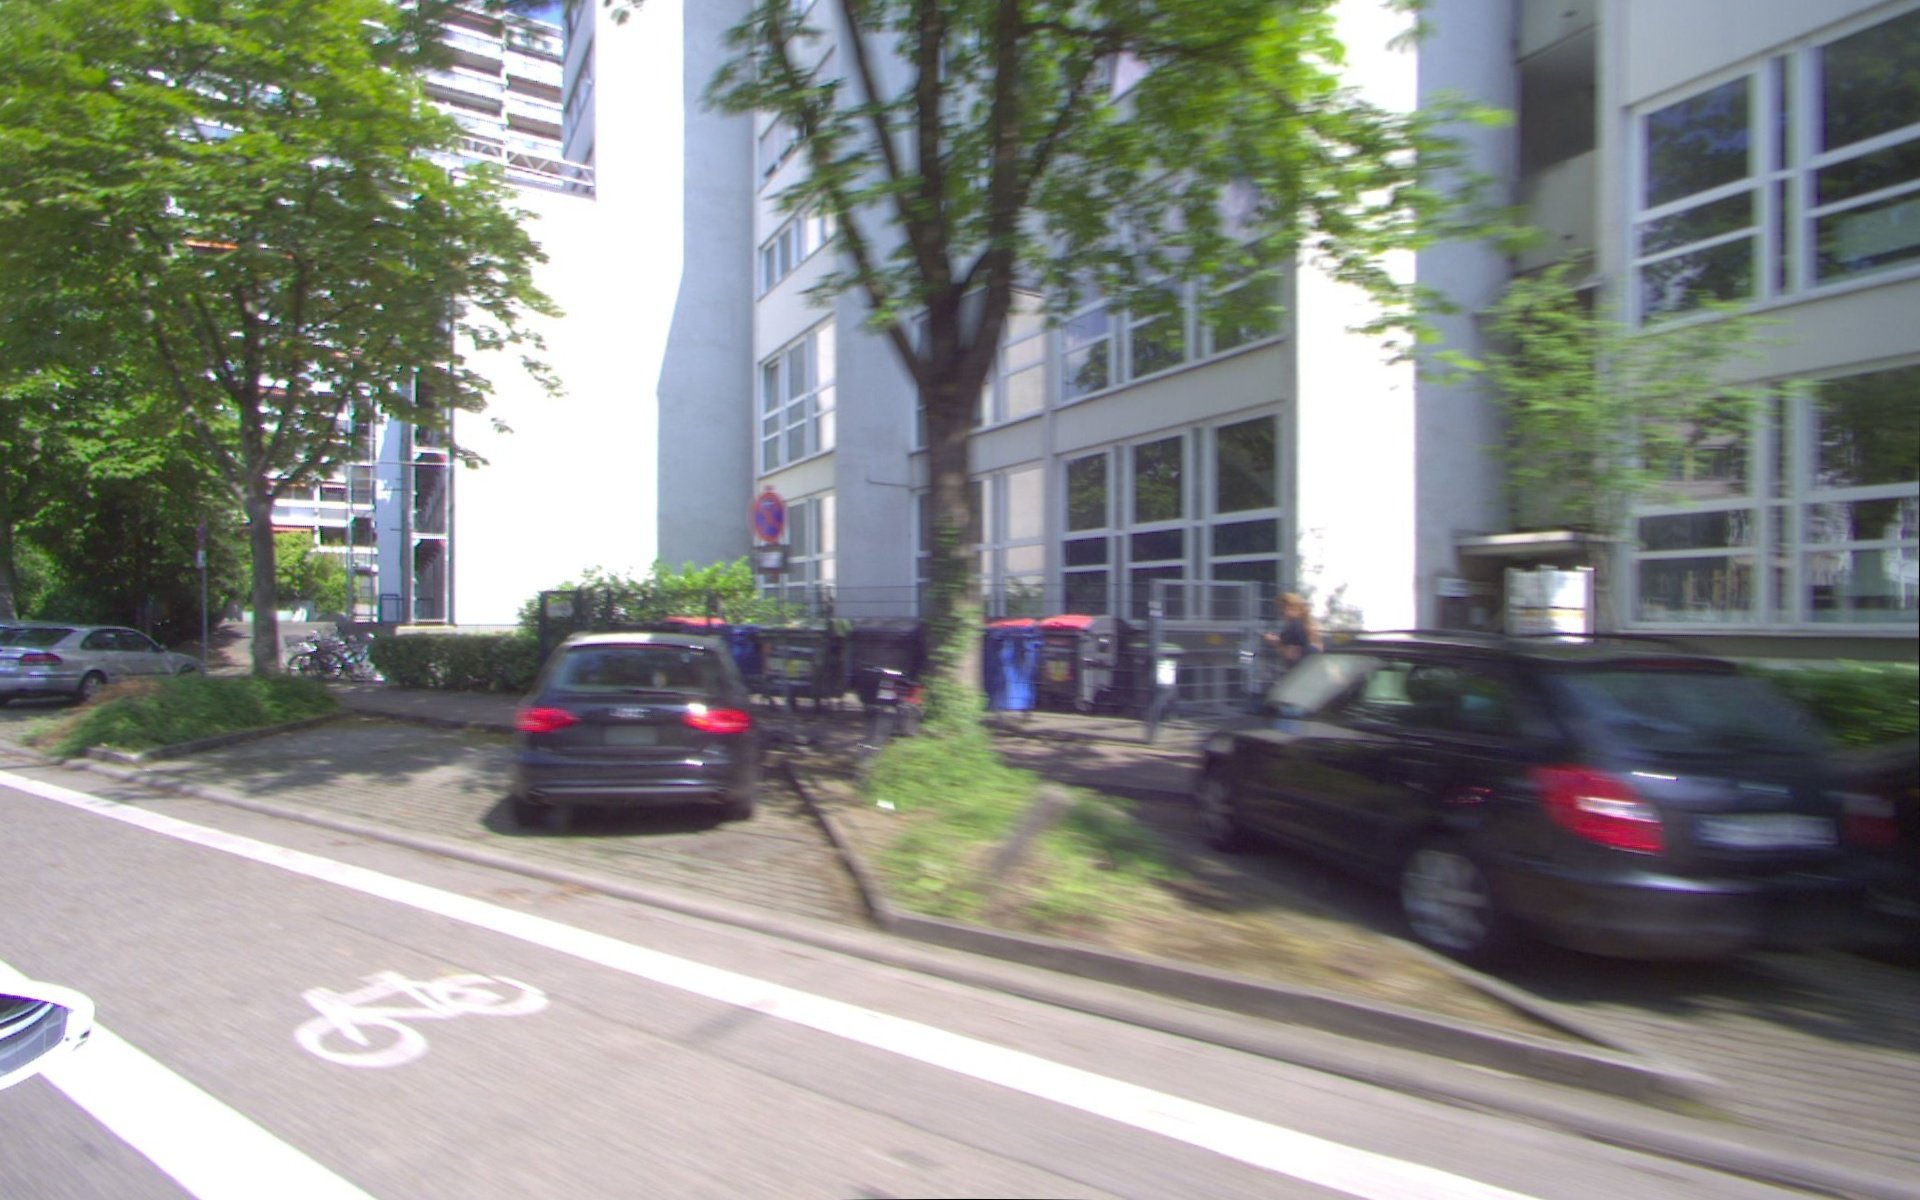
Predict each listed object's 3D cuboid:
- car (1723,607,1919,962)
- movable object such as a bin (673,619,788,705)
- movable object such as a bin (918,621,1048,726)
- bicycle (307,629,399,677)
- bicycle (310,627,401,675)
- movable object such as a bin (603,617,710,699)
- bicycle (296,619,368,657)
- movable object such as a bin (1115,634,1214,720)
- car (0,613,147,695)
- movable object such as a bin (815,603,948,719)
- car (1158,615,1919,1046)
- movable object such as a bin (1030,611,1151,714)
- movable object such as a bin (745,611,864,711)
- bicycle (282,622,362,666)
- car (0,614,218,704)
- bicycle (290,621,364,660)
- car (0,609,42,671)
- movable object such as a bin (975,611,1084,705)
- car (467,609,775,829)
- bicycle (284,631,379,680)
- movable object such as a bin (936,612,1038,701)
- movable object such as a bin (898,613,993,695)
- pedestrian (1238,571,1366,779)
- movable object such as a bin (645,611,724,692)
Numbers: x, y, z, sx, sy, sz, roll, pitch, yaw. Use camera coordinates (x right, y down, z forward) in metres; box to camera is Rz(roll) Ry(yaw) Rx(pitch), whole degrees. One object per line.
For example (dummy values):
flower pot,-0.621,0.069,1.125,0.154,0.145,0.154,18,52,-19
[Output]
car,5.387,0.813,3.635,1.869,1.594,4.000,1,-2,-8
movable object such as a bin,-3.777,1.003,16.536,1.339,1.353,1.273,-1,-2,32
movable object such as a bin,0.324,0.965,13.619,1.307,1.335,1.272,-1,-1,33
bicycle,-14.786,1.280,24.447,1.872,1.110,0.449,-1,1,-26
bicycle,-14.999,1.264,24.898,1.872,1.110,0.449,-1,1,-26
movable object such as a bin,-5.236,0.992,17.298,1.219,1.352,1.273,-1,-2,32
bicycle,-19.230,1.152,30.707,1.804,1.110,0.449,0,1,-26
movable object such as a bin,2.890,1.062,14.184,1.020,1.105,0.924,-2,1,-32
car,-18.633,1.032,20.256,1.621,1.493,3.805,2,-2,-8
movable object such as a bin,-1.127,0.849,14.427,1.449,1.559,1.272,-1,-1,33
car,2.714,0.859,5.627,1.694,1.462,4.072,2,-1,-11
movable object such as a bin,2.006,0.918,15.457,1.362,1.467,1.255,-2,1,-35
movable object such as a bin,-2.422,0.948,15.704,1.330,1.455,1.276,1,-2,26
bicycle,-17.565,1.205,27.618,1.804,1.111,0.449,-1,3,-26
car,-16.075,1.006,18.562,1.690,1.438,4.243,1,-1,-4
bicycle,-18.711,1.186,29.638,1.804,1.110,0.449,1,1,-26
car,-24.188,0.999,23.856,1.586,1.506,3.995,-1,0,-12
movable object such as a bin,1.147,0.949,16.670,1.194,1.474,1.444,1,-2,-33
car,-2.760,0.907,9.094,1.994,1.460,4.534,1,-3,-12
bicycle,-14.937,1.305,23.844,1.872,1.067,0.449,-1,1,-26
movable object such as a bin,0.481,0.977,18.004,1.362,1.467,1.255,-2,1,-35
movable object such as a bin,-0.283,1.003,19.366,1.362,1.467,1.255,-2,1,-35
pedestrian,3.329,0.697,9.744,0.990,1.898,0.757,0,0,39
movable object such as a bin,-5.289,0.974,19.192,1.250,1.500,0.932,2,-1,-30
